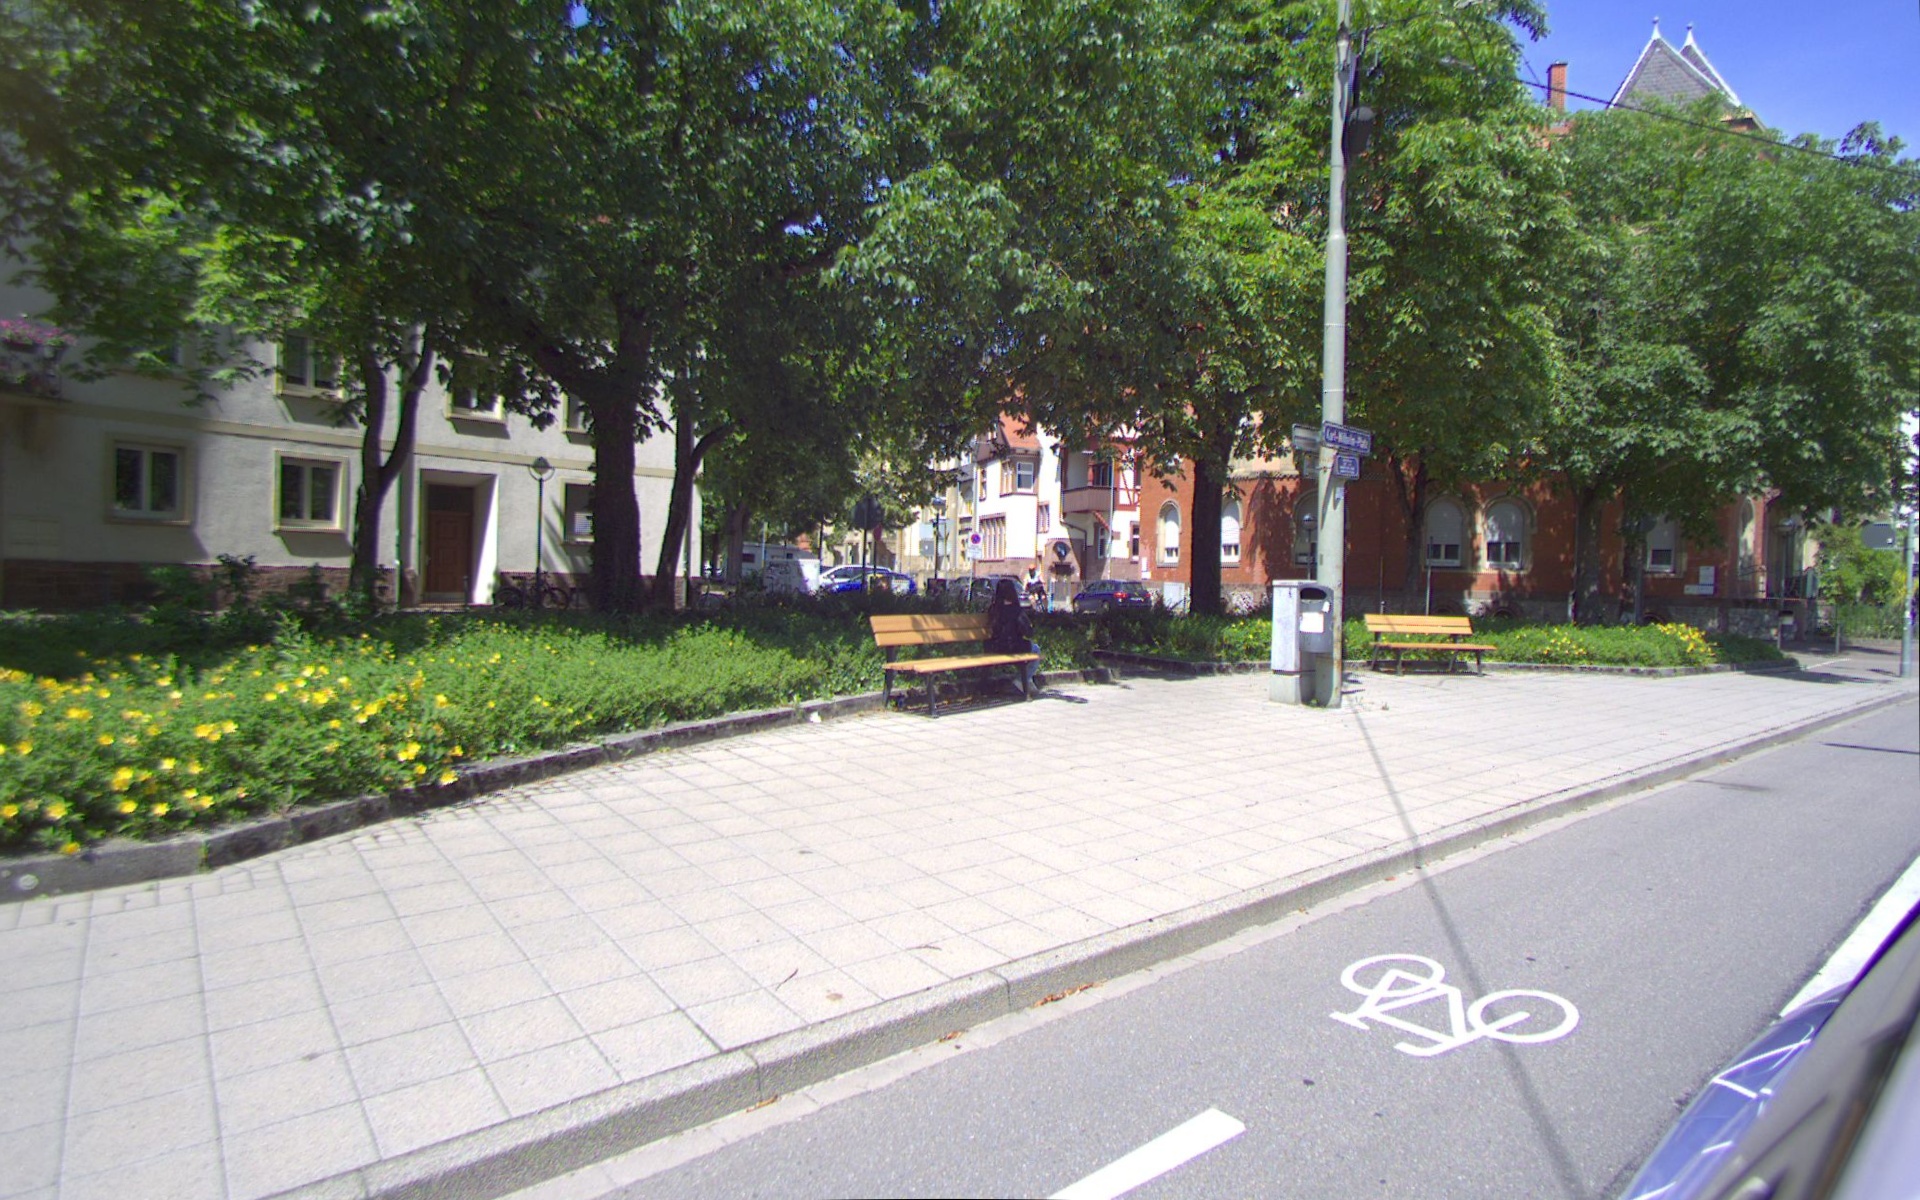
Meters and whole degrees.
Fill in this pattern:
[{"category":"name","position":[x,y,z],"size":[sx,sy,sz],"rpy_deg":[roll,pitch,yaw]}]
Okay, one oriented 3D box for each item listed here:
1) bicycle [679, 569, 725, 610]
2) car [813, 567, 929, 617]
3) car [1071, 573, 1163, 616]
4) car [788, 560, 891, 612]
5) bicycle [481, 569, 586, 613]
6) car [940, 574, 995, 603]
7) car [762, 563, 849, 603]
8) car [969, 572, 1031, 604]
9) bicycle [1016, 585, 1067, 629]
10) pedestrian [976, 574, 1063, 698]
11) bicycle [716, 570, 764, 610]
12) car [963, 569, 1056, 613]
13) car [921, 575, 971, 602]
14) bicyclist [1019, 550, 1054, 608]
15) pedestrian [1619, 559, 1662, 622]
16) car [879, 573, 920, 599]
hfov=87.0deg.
[{"category":"bicycle","position":[-6.773,-0.261,26.477],"size":[0.736,1.024,2.273],"rpy_deg":[0,0,-26]},{"category":"car","position":[-3.541,-0.325,40.017],"size":[4.219,1.903,1.942],"rpy_deg":[0,0,-18]},{"category":"car","position":[6.279,-0.236,41.026],"size":[1.897,1.638,4.318],"rpy_deg":[0,0,-19]},{"category":"car","position":[-5.368,-0.631,44.830],"size":[4.219,2.219,1.942],"rpy_deg":[0,0,-18]},{"category":"bicycle","position":[-10.250,-0.223,24.377],"size":[2.230,1.024,0.751],"rpy_deg":[-1,0,-41]},{"category":"car","position":[0.385,-0.658,58.683],"size":[1.897,1.638,4.318],"rpy_deg":[0,0,-19]},{"category":"car","position":[-8.080,-0.886,52.940],"size":[4.219,2.029,1.942],"rpy_deg":[0,0,-18]},{"category":"car","position":[2.071,-0.623,54.076],"size":[1.897,1.638,4.318],"rpy_deg":[0,0,-19]},{"category":"bicycle","position":[2.596,0.184,31.660],"size":[0.941,1.279,3.727],"rpy_deg":[0,0,15]},{"category":"pedestrian","position":[0.599,0.334,10.076],"size":[0.562,1.156,0.718],"rpy_deg":[3,2,33]},{"category":"bicycle","position":[-5.865,-0.270,26.905],"size":[0.736,1.024,2.273],"rpy_deg":[0,0,-26]},{"category":"car","position":[1.872,-0.369,40.064],"size":[1.898,1.638,4.533],"rpy_deg":[0,0,-23]},{"category":"car","position":[-0.913,-0.695,63.254],"size":[1.897,1.638,4.318],"rpy_deg":[0,0,-19]},{"category":"bicyclist","position":[2.339,-0.619,30.728],"size":[0.862,1.717,1.248],"rpy_deg":[0,0,15]},{"category":"pedestrian","position":[20.630,-0.297,30.691],"size":[0.826,1.846,0.671],"rpy_deg":[2,1,12]},{"category":"car","position":[-4.496,-1.010,74.463],"size":[1.897,1.897,4.318],"rpy_deg":[0,0,-19]}]
